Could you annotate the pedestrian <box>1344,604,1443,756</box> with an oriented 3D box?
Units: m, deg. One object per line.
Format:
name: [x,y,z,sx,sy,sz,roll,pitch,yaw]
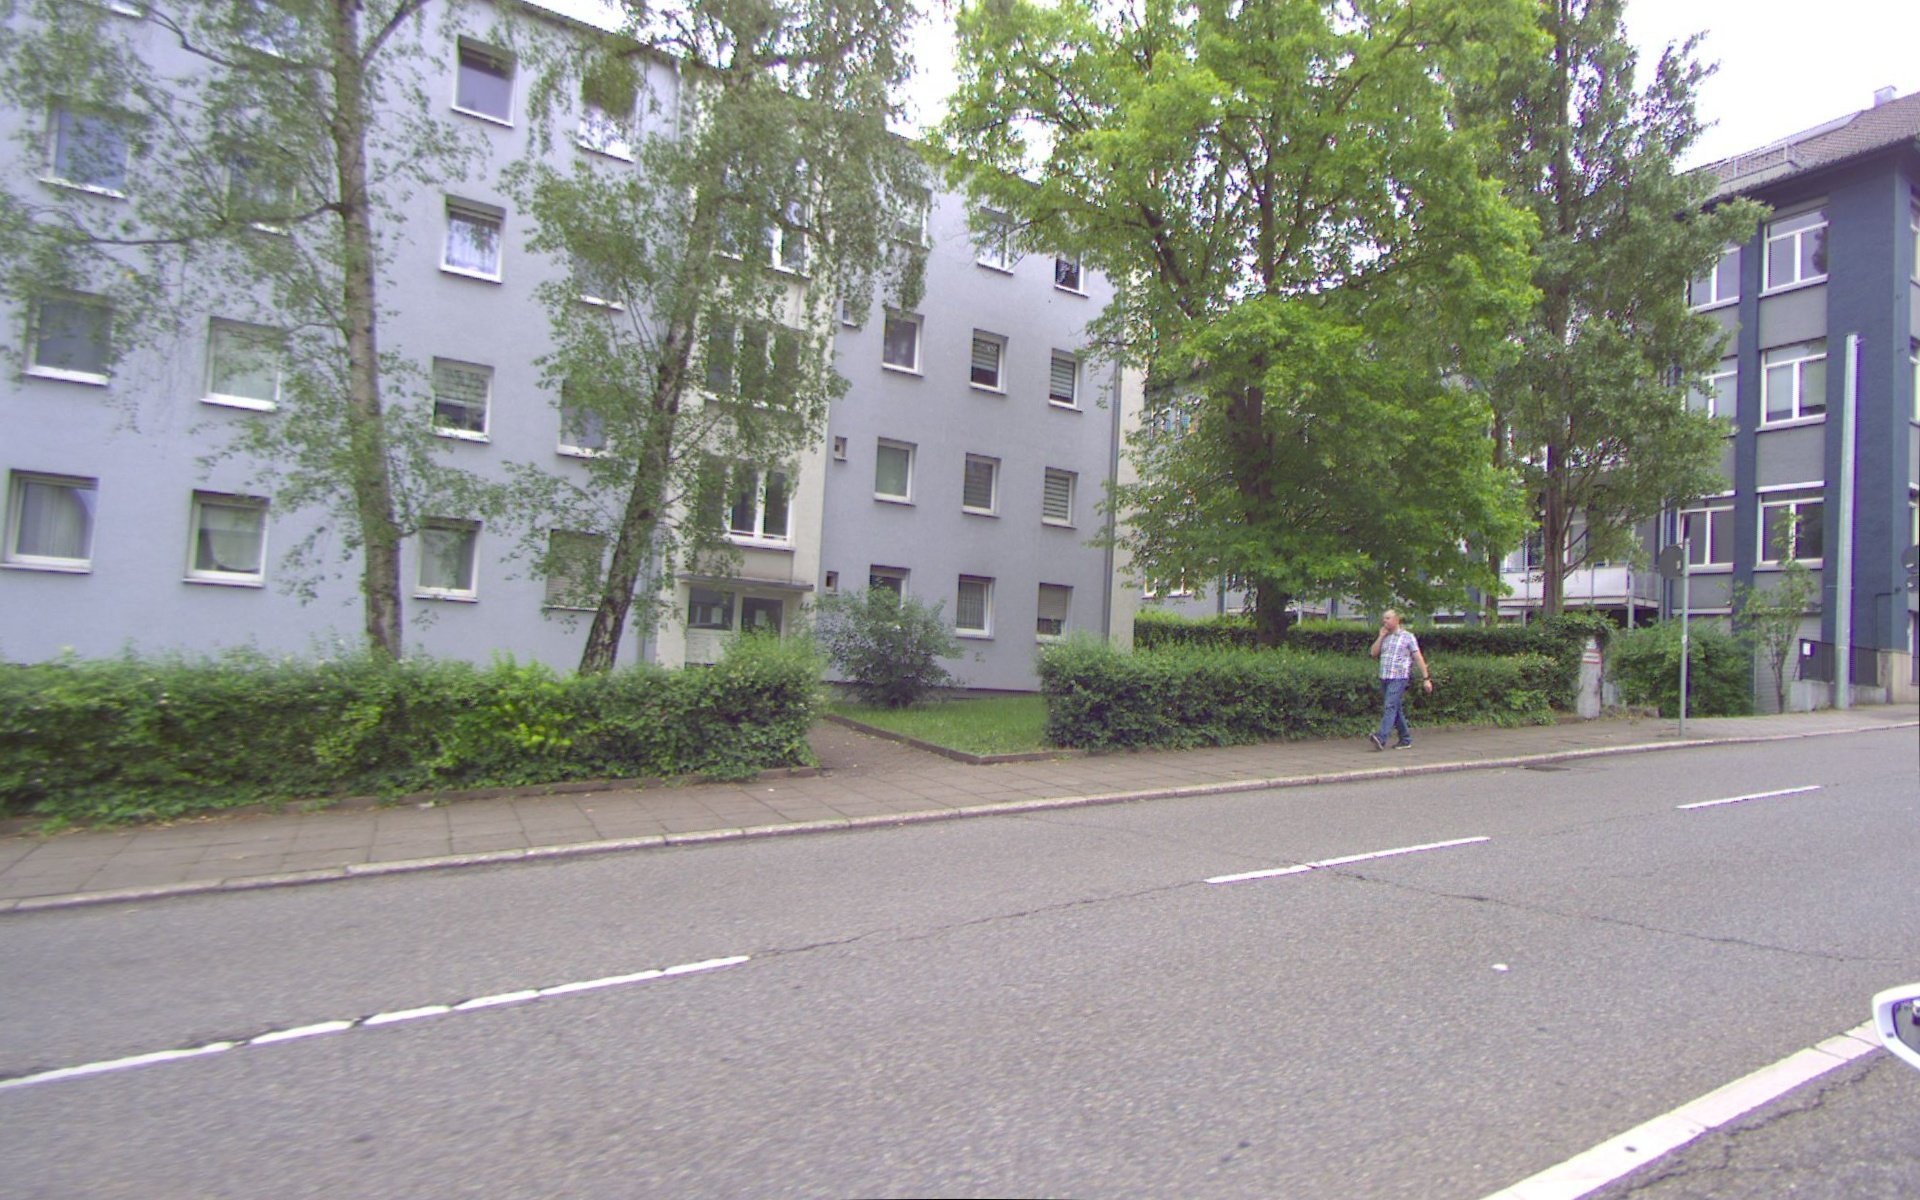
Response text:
pedestrian: [5.945,1.060,13.780,0.857,1.976,0.878,1,1,-30]
